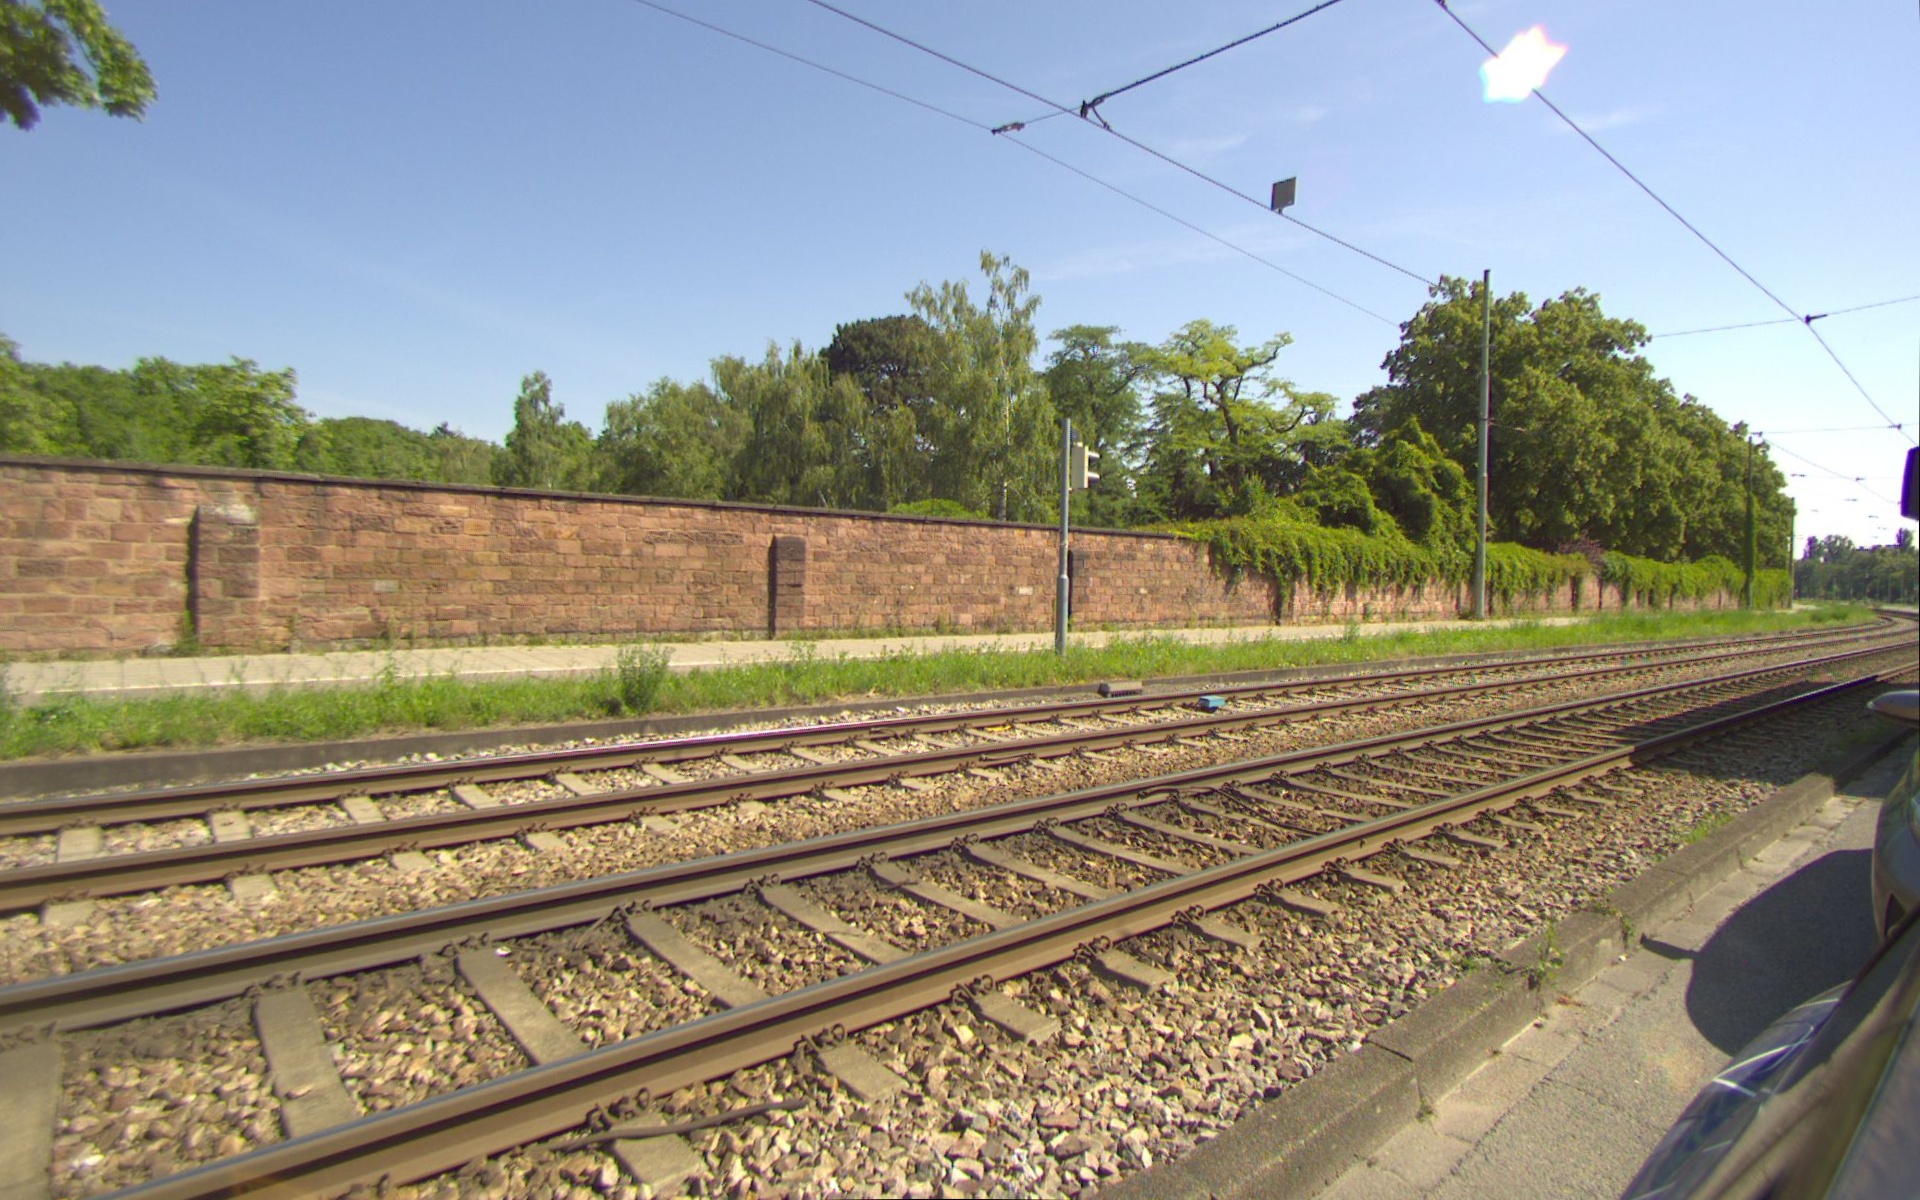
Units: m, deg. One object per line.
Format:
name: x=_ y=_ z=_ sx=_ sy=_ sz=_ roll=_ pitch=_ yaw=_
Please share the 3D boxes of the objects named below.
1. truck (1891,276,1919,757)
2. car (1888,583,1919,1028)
truck: x=14.239 y=-0.640 z=12.030 sx=14.652 sy=3.927 sz=2.934 roll=0 pitch=2 yaw=-41
car: x=5.082 y=0.696 z=4.025 sx=3.930 sy=1.448 sz=1.573 roll=0 pitch=2 yaw=-41
